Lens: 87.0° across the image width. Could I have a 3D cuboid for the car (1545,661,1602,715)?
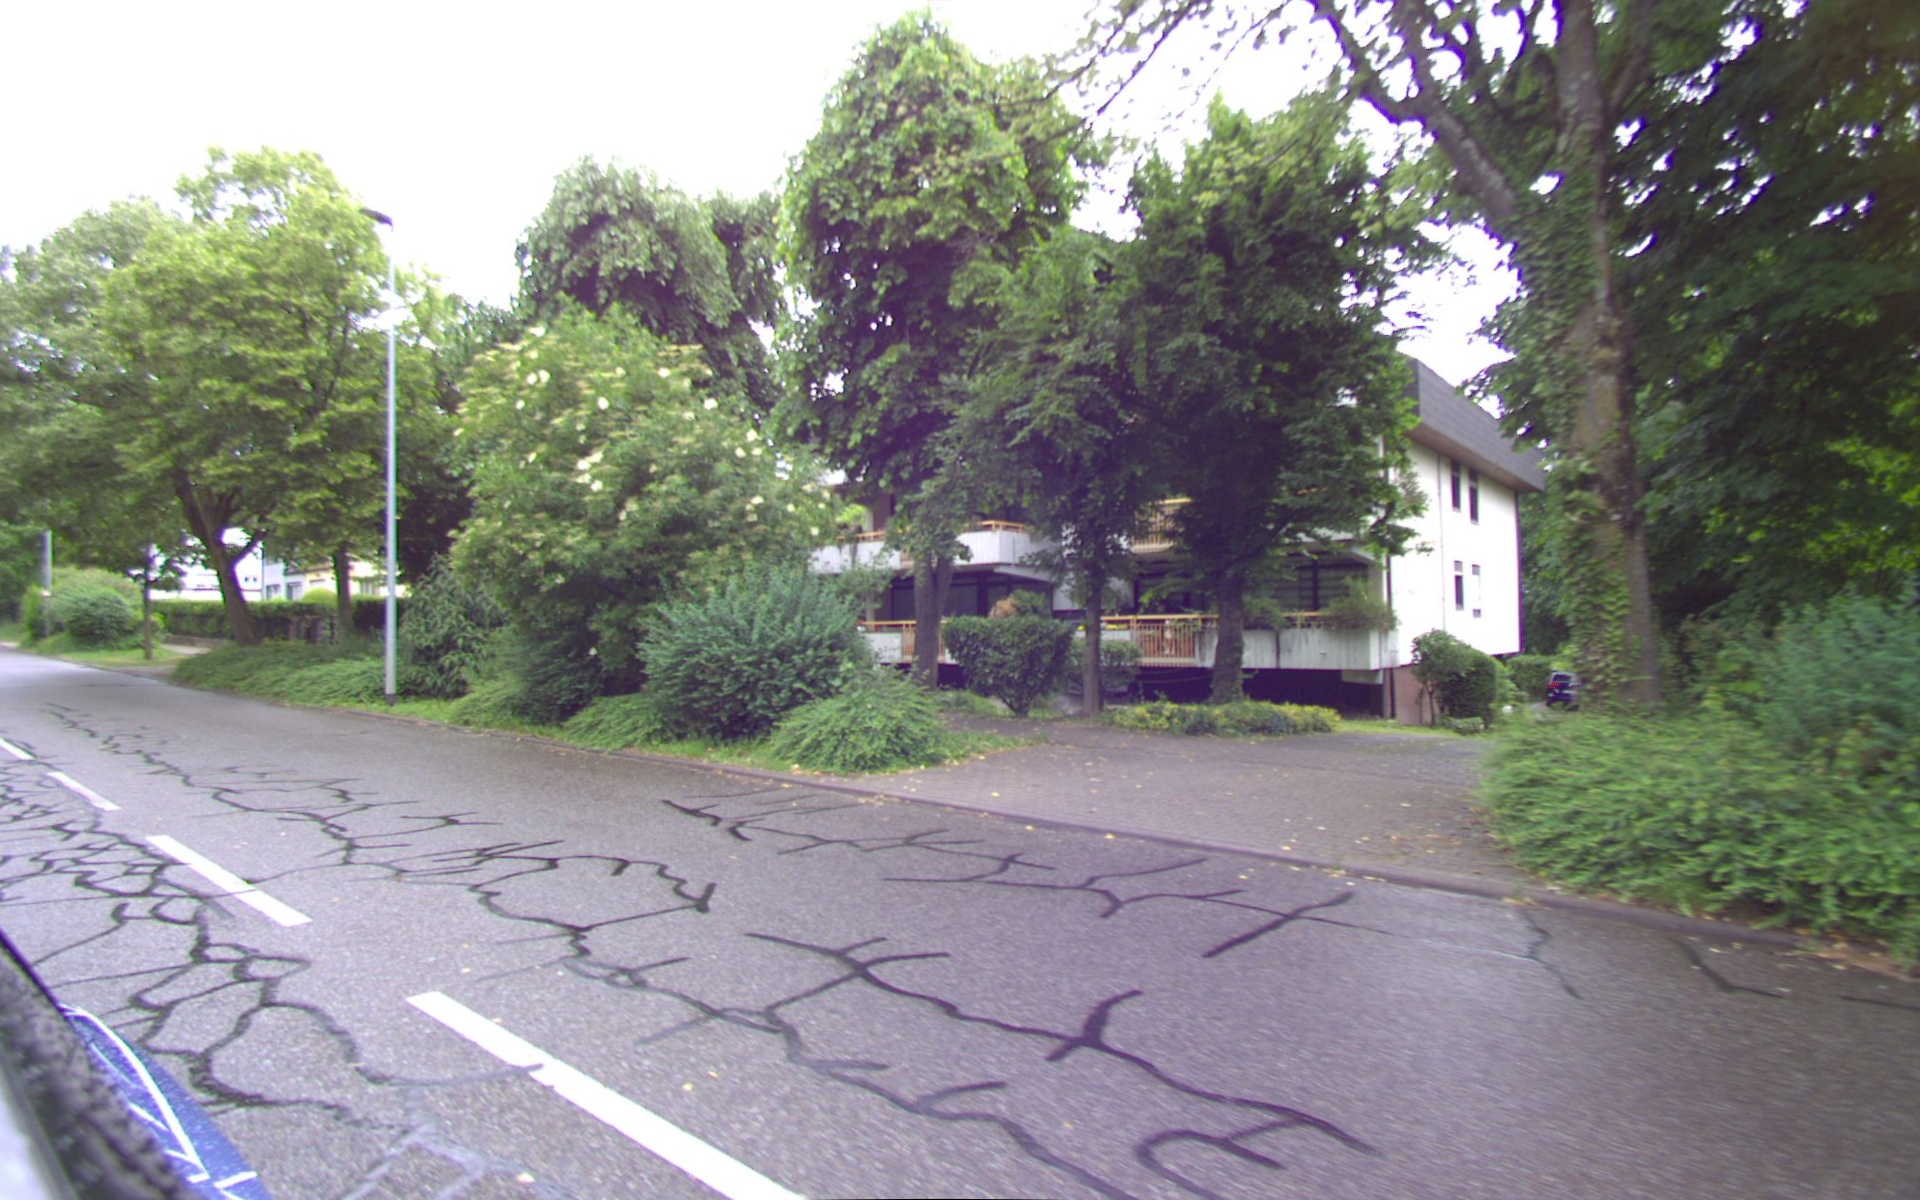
[{"bbox_3d":[24.201,3.414,40.010,1.819,1.730,3.958,-1,0,31],"label":"car"}]
